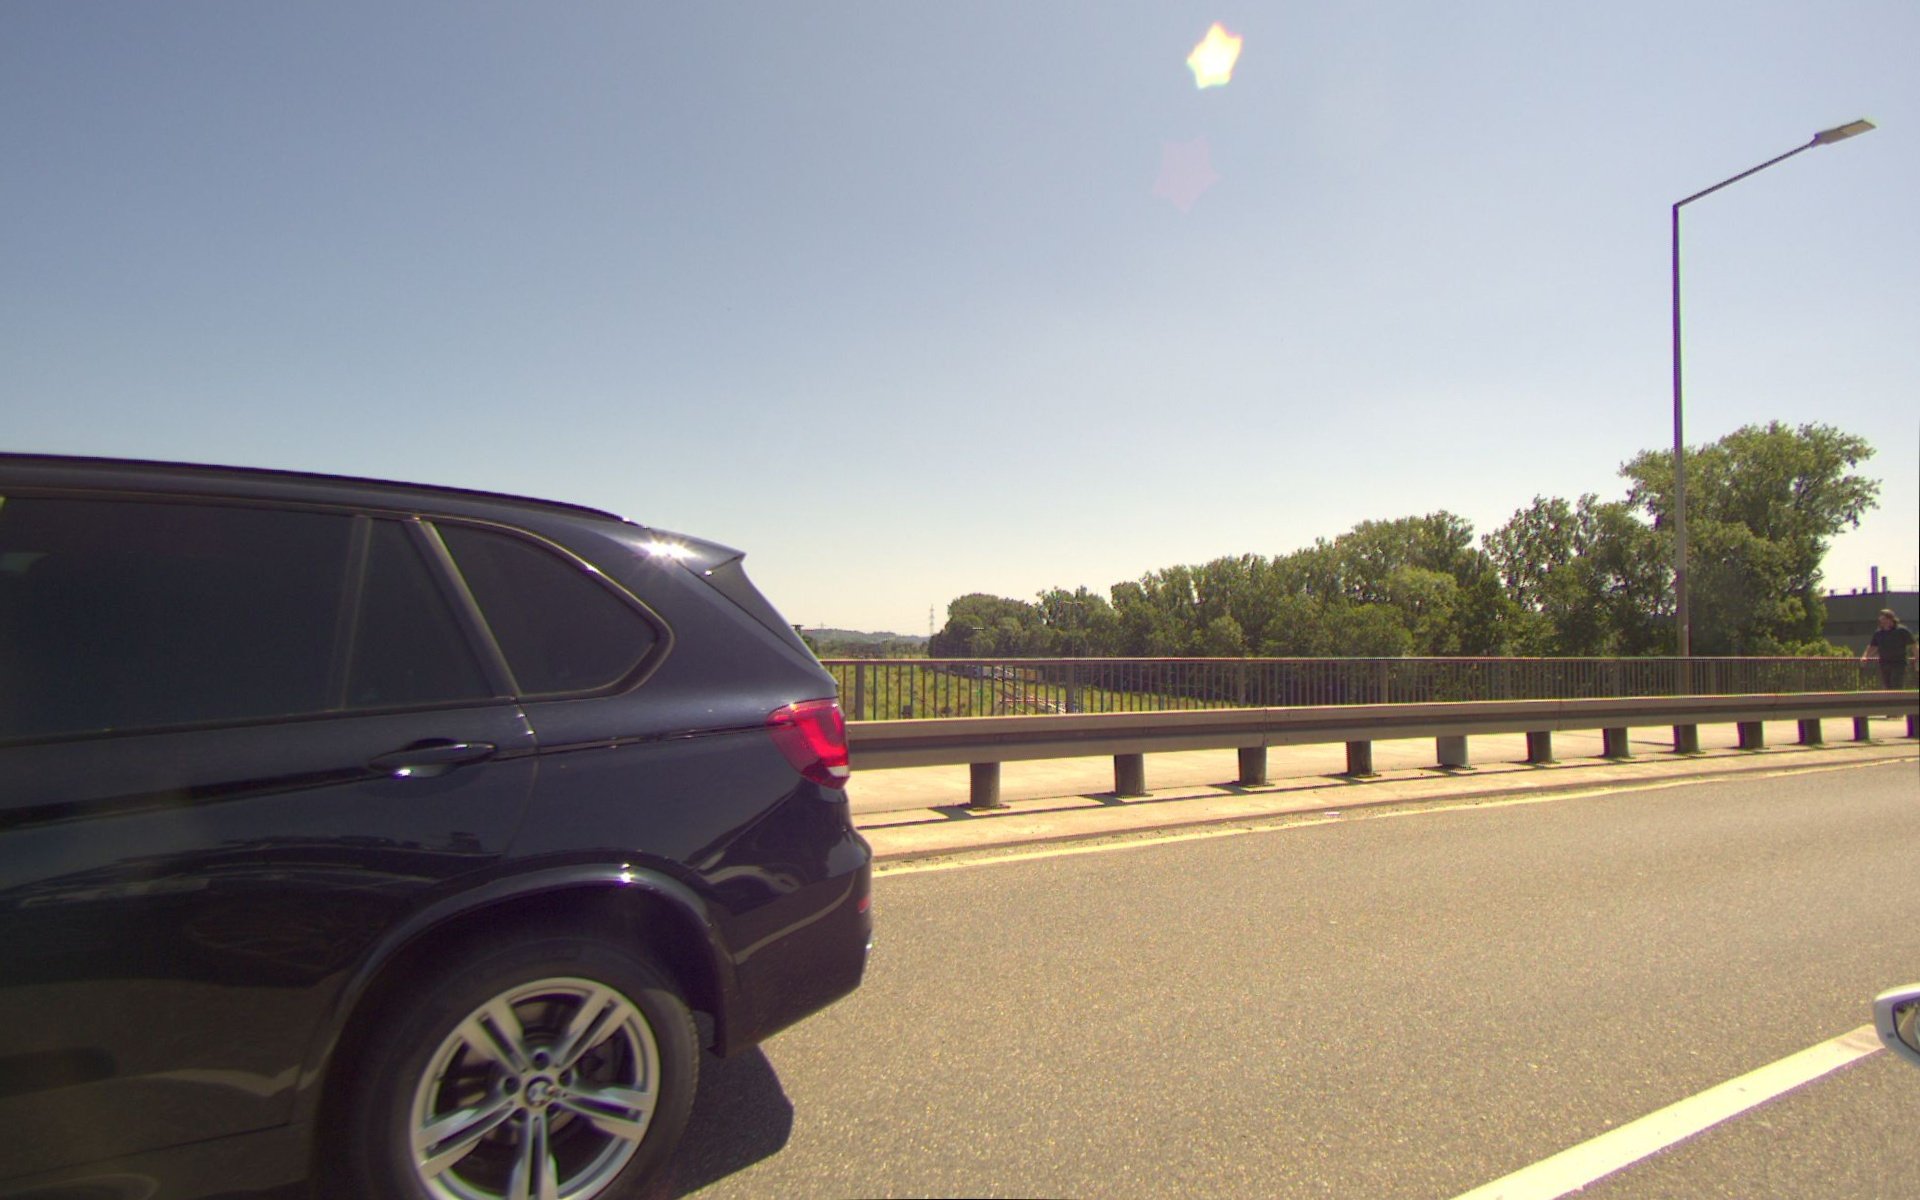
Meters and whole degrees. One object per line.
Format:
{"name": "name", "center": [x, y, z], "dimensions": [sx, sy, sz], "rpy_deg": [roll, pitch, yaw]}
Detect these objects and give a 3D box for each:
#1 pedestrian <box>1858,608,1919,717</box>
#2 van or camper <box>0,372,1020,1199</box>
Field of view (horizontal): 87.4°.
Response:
{"name": "pedestrian", "center": [15.934, 1.051, 17.138], "dimensions": [0.801, 1.806, 0.636], "rpy_deg": [2, 0, -26]}
{"name": "van or camper", "center": [-2.333, 0.518, 2.436], "dimensions": [4.643, 1.784, 1.984], "rpy_deg": [2, -2, -30]}
